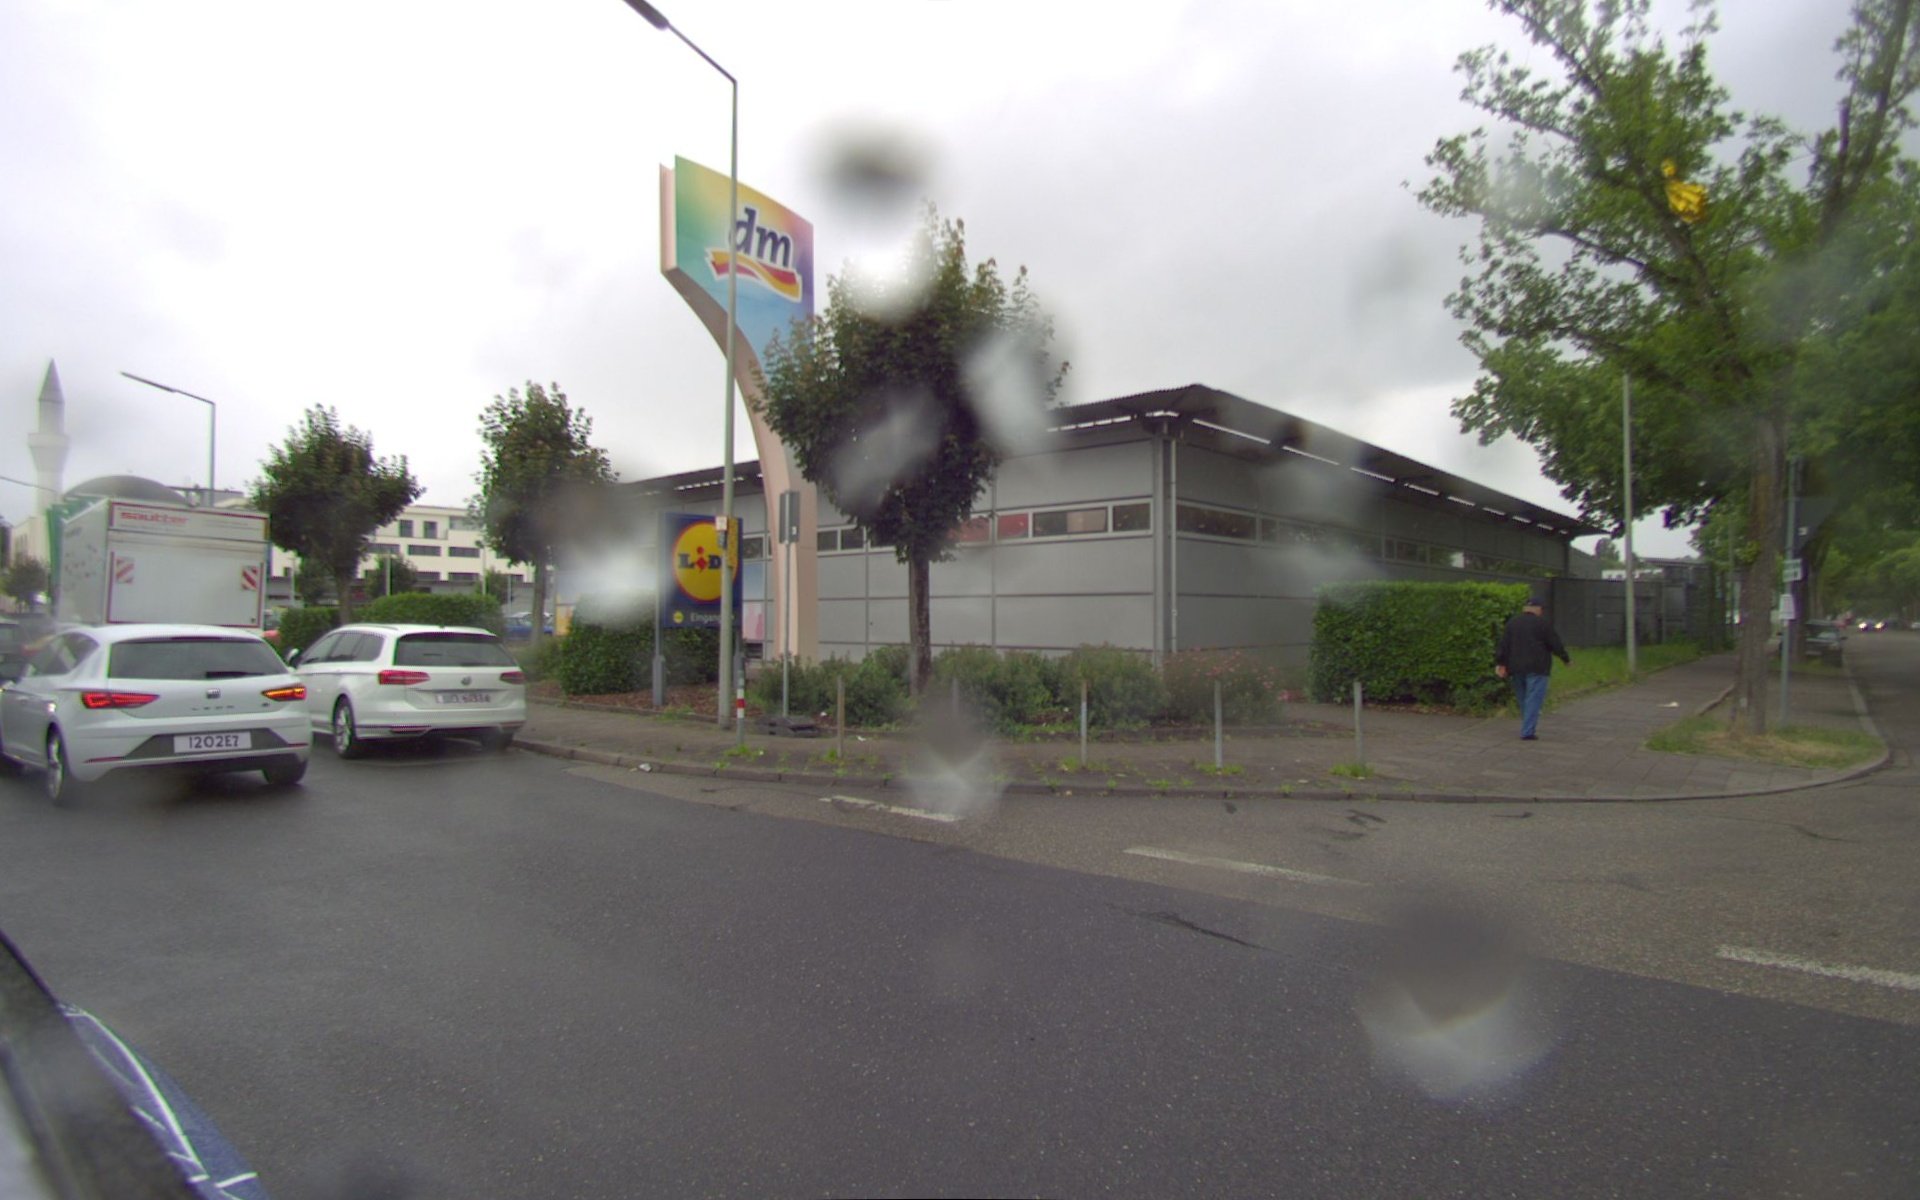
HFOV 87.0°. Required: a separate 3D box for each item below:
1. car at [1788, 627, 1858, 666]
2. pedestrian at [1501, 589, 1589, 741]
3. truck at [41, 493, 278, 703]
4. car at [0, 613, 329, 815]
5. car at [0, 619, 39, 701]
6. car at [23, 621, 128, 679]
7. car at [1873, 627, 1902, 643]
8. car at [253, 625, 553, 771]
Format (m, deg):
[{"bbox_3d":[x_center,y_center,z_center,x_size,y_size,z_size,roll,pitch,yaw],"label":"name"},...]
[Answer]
[{"bbox_3d":[29.122,1.517,34.118,1.571,1.212,3.943,-1,-2,43],"label":"car"},{"bbox_3d":[6.825,0.730,11.801,0.758,1.686,0.772,-1,-2,39],"label":"pedestrian"},{"bbox_3d":[-17.531,0.036,21.934,7.867,3.775,2.850,-1,-2,43],"label":"truck"},{"bbox_3d":[-7.514,0.884,9.233,3.995,1.452,1.714,-1,-3,38],"label":"car"},{"bbox_3d":[-18.834,1.104,19.011,3.996,1.452,1.713,-2,-3,40],"label":"car"},{"bbox_3d":[-24.179,1.320,27.635,3.511,1.477,1.670,-1,-2,41],"label":"car"},{"bbox_3d":[95.375,3.540,104.125,1.924,1.584,3.947,-1,-2,39],"label":"car"},{"bbox_3d":[-6.868,1.042,12.250,4.491,1.445,1.816,-1,-3,43],"label":"car"}]
